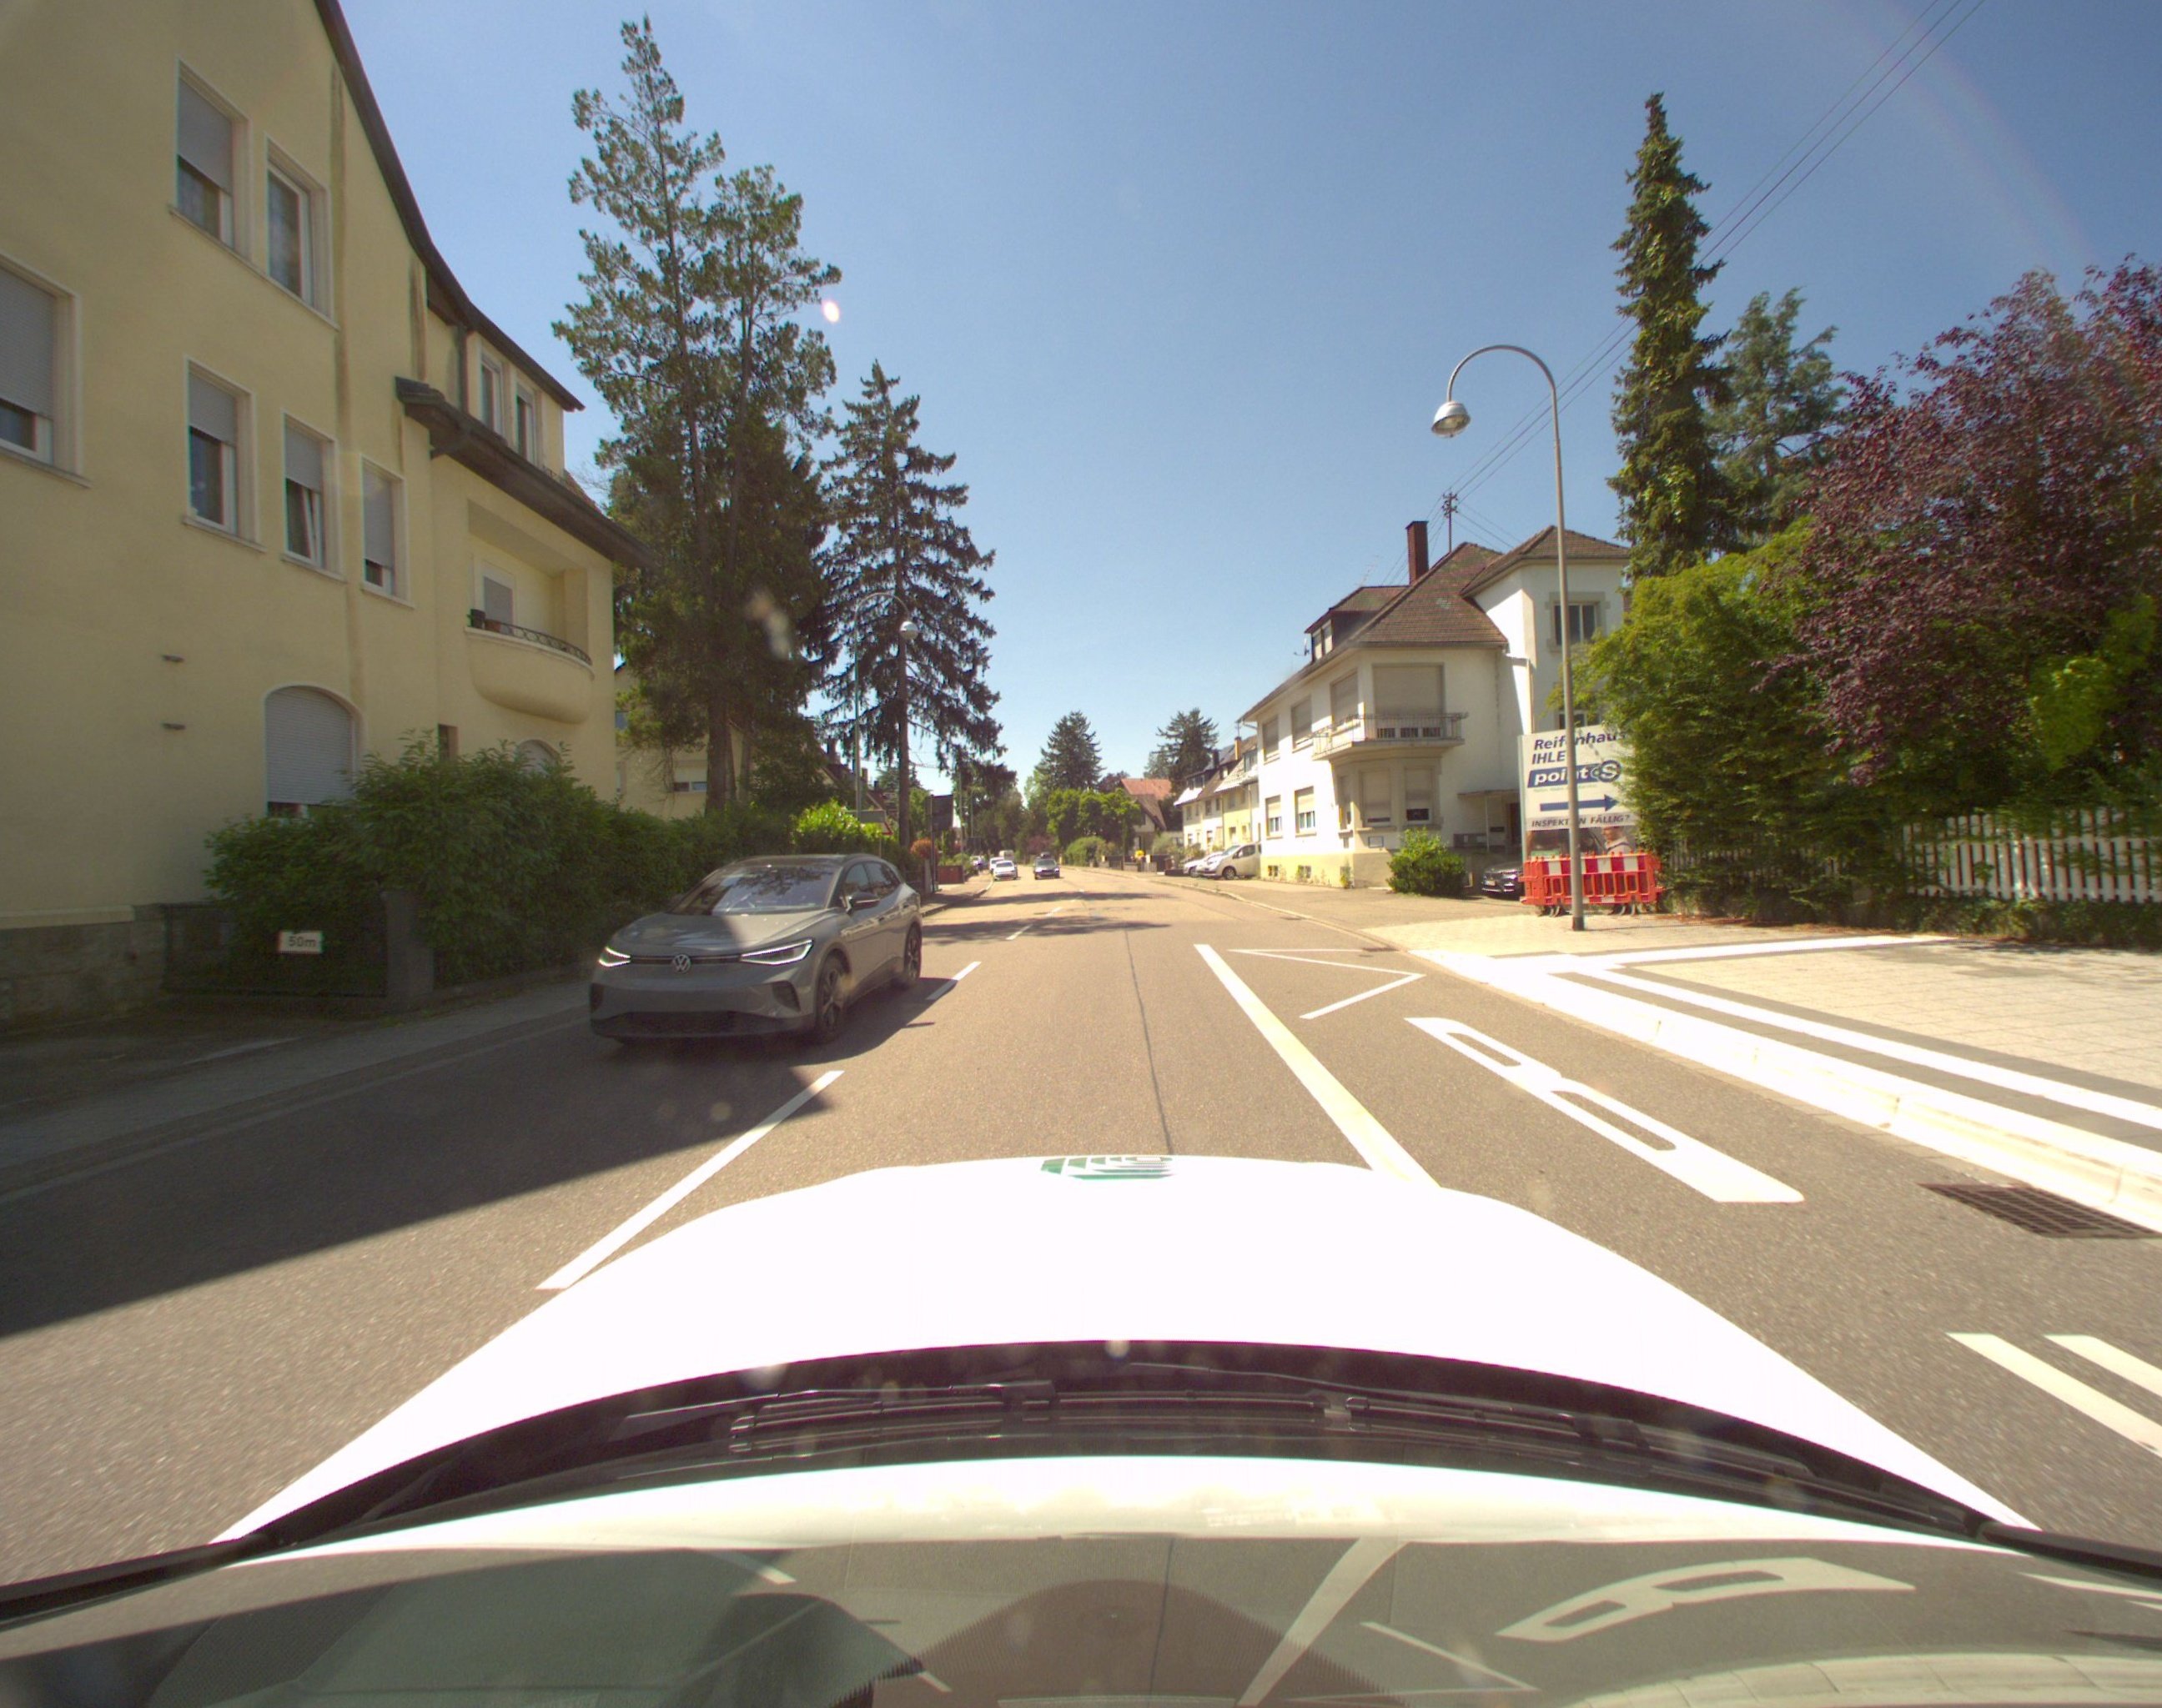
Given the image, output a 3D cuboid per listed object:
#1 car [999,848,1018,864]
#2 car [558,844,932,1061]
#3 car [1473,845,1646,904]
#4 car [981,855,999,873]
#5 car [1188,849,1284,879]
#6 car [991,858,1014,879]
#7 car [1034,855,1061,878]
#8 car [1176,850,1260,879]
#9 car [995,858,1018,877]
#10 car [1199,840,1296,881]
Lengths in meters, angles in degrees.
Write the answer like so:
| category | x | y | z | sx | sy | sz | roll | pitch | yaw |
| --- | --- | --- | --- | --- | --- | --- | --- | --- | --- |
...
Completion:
| category | x | y | z | sx | sy | sz | roll | pitch | yaw |
| --- | --- | --- | --- | --- | --- | --- | --- | --- | --- |
| car | -11.596 | 0.303 | 129.865 | 2.146 | 2.315 | 4.830 | -3 | 0 | -14 |
| car | -2.940 | 0.755 | 8.305 | 1.846 | 1.616 | 4.299 | -1 | 0 | 3 |
| car | 13.677 | 0.575 | 23.433 | 3.976 | 1.592 | 1.796 | 1 | -1 | -2 |
| car | -9.676 | 1.054 | 86.333 | 1.722 | 1.736 | 3.876 | -4 | 0 | -8 |
| car | 8.061 | 0.531 | 42.504 | 4.629 | 1.409 | 1.767 | 1 | 0 | -4 |
| car | -5.968 | 1.103 | 61.645 | 1.576 | 1.423 | 3.932 | -4 | 0 | -6 |
| car | -2.443 | 0.877 | 58.573 | 1.802 | 1.488 | 4.381 | -3 | 0 | -3 |
| car | 7.627 | 0.584 | 45.313 | 4.250 | 1.548 | 1.767 | 0 | -2 | 28 |
| car | -6.179 | 1.088 | 67.605 | 1.767 | 1.438 | 4.353 | -3 | 0 | -6 |
| car | 8.137 | 0.311 | 39.823 | 4.294 | 1.831 | 1.732 | 2 | 0 | -13 |
